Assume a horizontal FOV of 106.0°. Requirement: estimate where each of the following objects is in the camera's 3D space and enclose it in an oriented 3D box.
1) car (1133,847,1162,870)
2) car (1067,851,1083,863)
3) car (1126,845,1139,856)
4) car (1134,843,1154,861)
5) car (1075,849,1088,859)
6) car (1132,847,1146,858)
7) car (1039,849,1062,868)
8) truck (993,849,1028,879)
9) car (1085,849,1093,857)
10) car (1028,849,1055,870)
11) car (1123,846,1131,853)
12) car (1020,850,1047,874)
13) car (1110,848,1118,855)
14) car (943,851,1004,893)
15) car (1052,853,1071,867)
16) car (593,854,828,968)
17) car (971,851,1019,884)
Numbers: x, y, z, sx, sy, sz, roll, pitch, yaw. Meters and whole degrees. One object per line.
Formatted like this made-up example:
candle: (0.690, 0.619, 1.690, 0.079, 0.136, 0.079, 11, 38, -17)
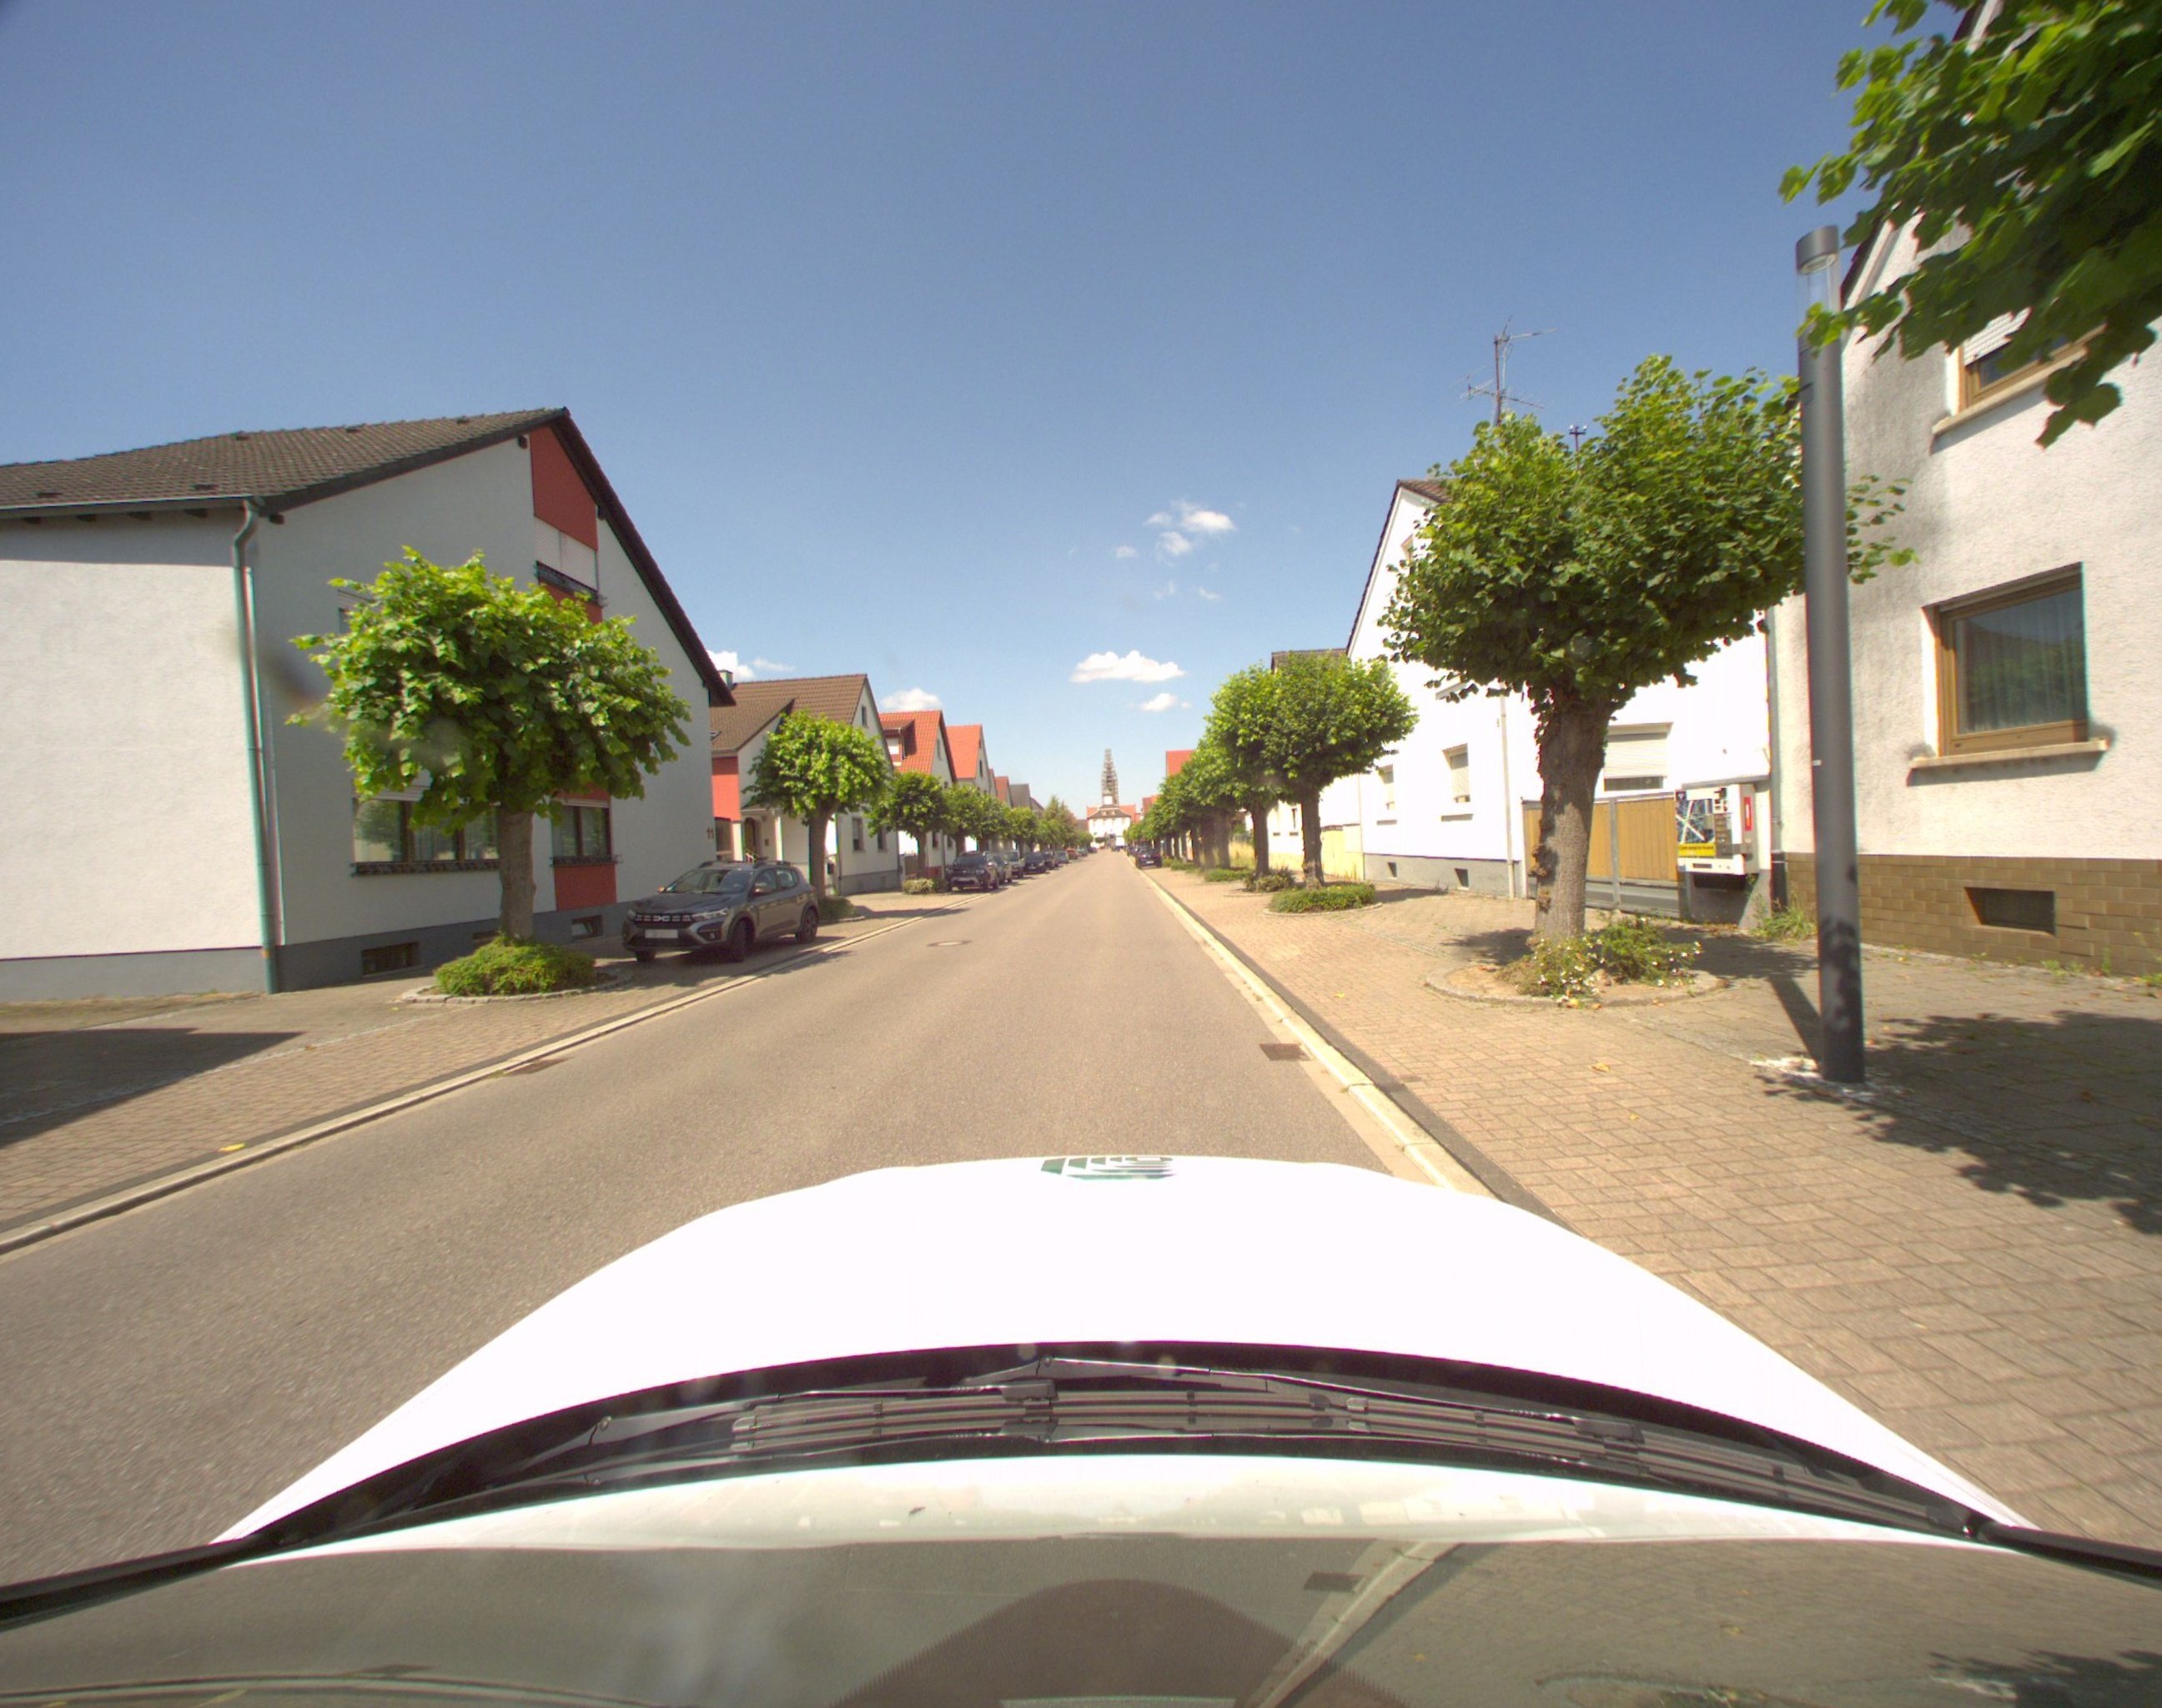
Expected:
car: (4.808, 0.285, 59.164, 1.817, 1.432, 4.059, -5, 0, 2)
car: (-0.889, 0.457, 121.530, 1.985, 1.611, 4.693, -1, 0, 3)
car: (8.116, -0.585, 128.723, 1.830, 1.555, 4.316, -4, 0, 2)
car: (6.256, -0.204, 80.656, 1.815, 1.586, 4.064, -4, 1, 6)
car: (0.106, 0.049, 143.138, 1.985, 1.611, 4.694, -1, 1, 3)
car: (8.580, -0.204, 121.220, 1.831, 1.607, 4.001, -2, 0, 1)
car: (-2.881, 0.404, 77.115, 1.988, 1.652, 4.365, -2, 0, -1)
truck: (-4.311, 0.586, 50.323, 1.570, 1.765, 4.195, 0, 0, 2)
car: (1.817, -0.207, 186.144, 1.750, 1.555, 4.023, -3, 0, 3)
car: (-3.278, 0.463, 67.643, 1.845, 1.635, 4.059, -1, 0, 2)
car: (10.851, -1.117, 191.528, 1.830, 1.555, 4.317, -4, 0, 3)
car: (-3.423, 0.580, 58.943, 1.782, 1.634, 3.995, -1, 0, -3)
car: (7.785, -0.584, 192.483, 1.723, 1.547, 3.457, -1, 0, 2)
car: (-4.481, 0.715, 34.587, 1.845, 1.636, 4.302, 0, 1, 2)
car: (-2.146, 0.674, 91.745, 1.834, 1.396, 4.408, -2, 0, 2)
car: (-6.012, 0.833, 13.854, 1.844, 1.613, 4.140, 0, 0, 4)
car: (-4.422, 0.660, 42.570, 1.845, 1.613, 4.373, 0, 0, 2)
